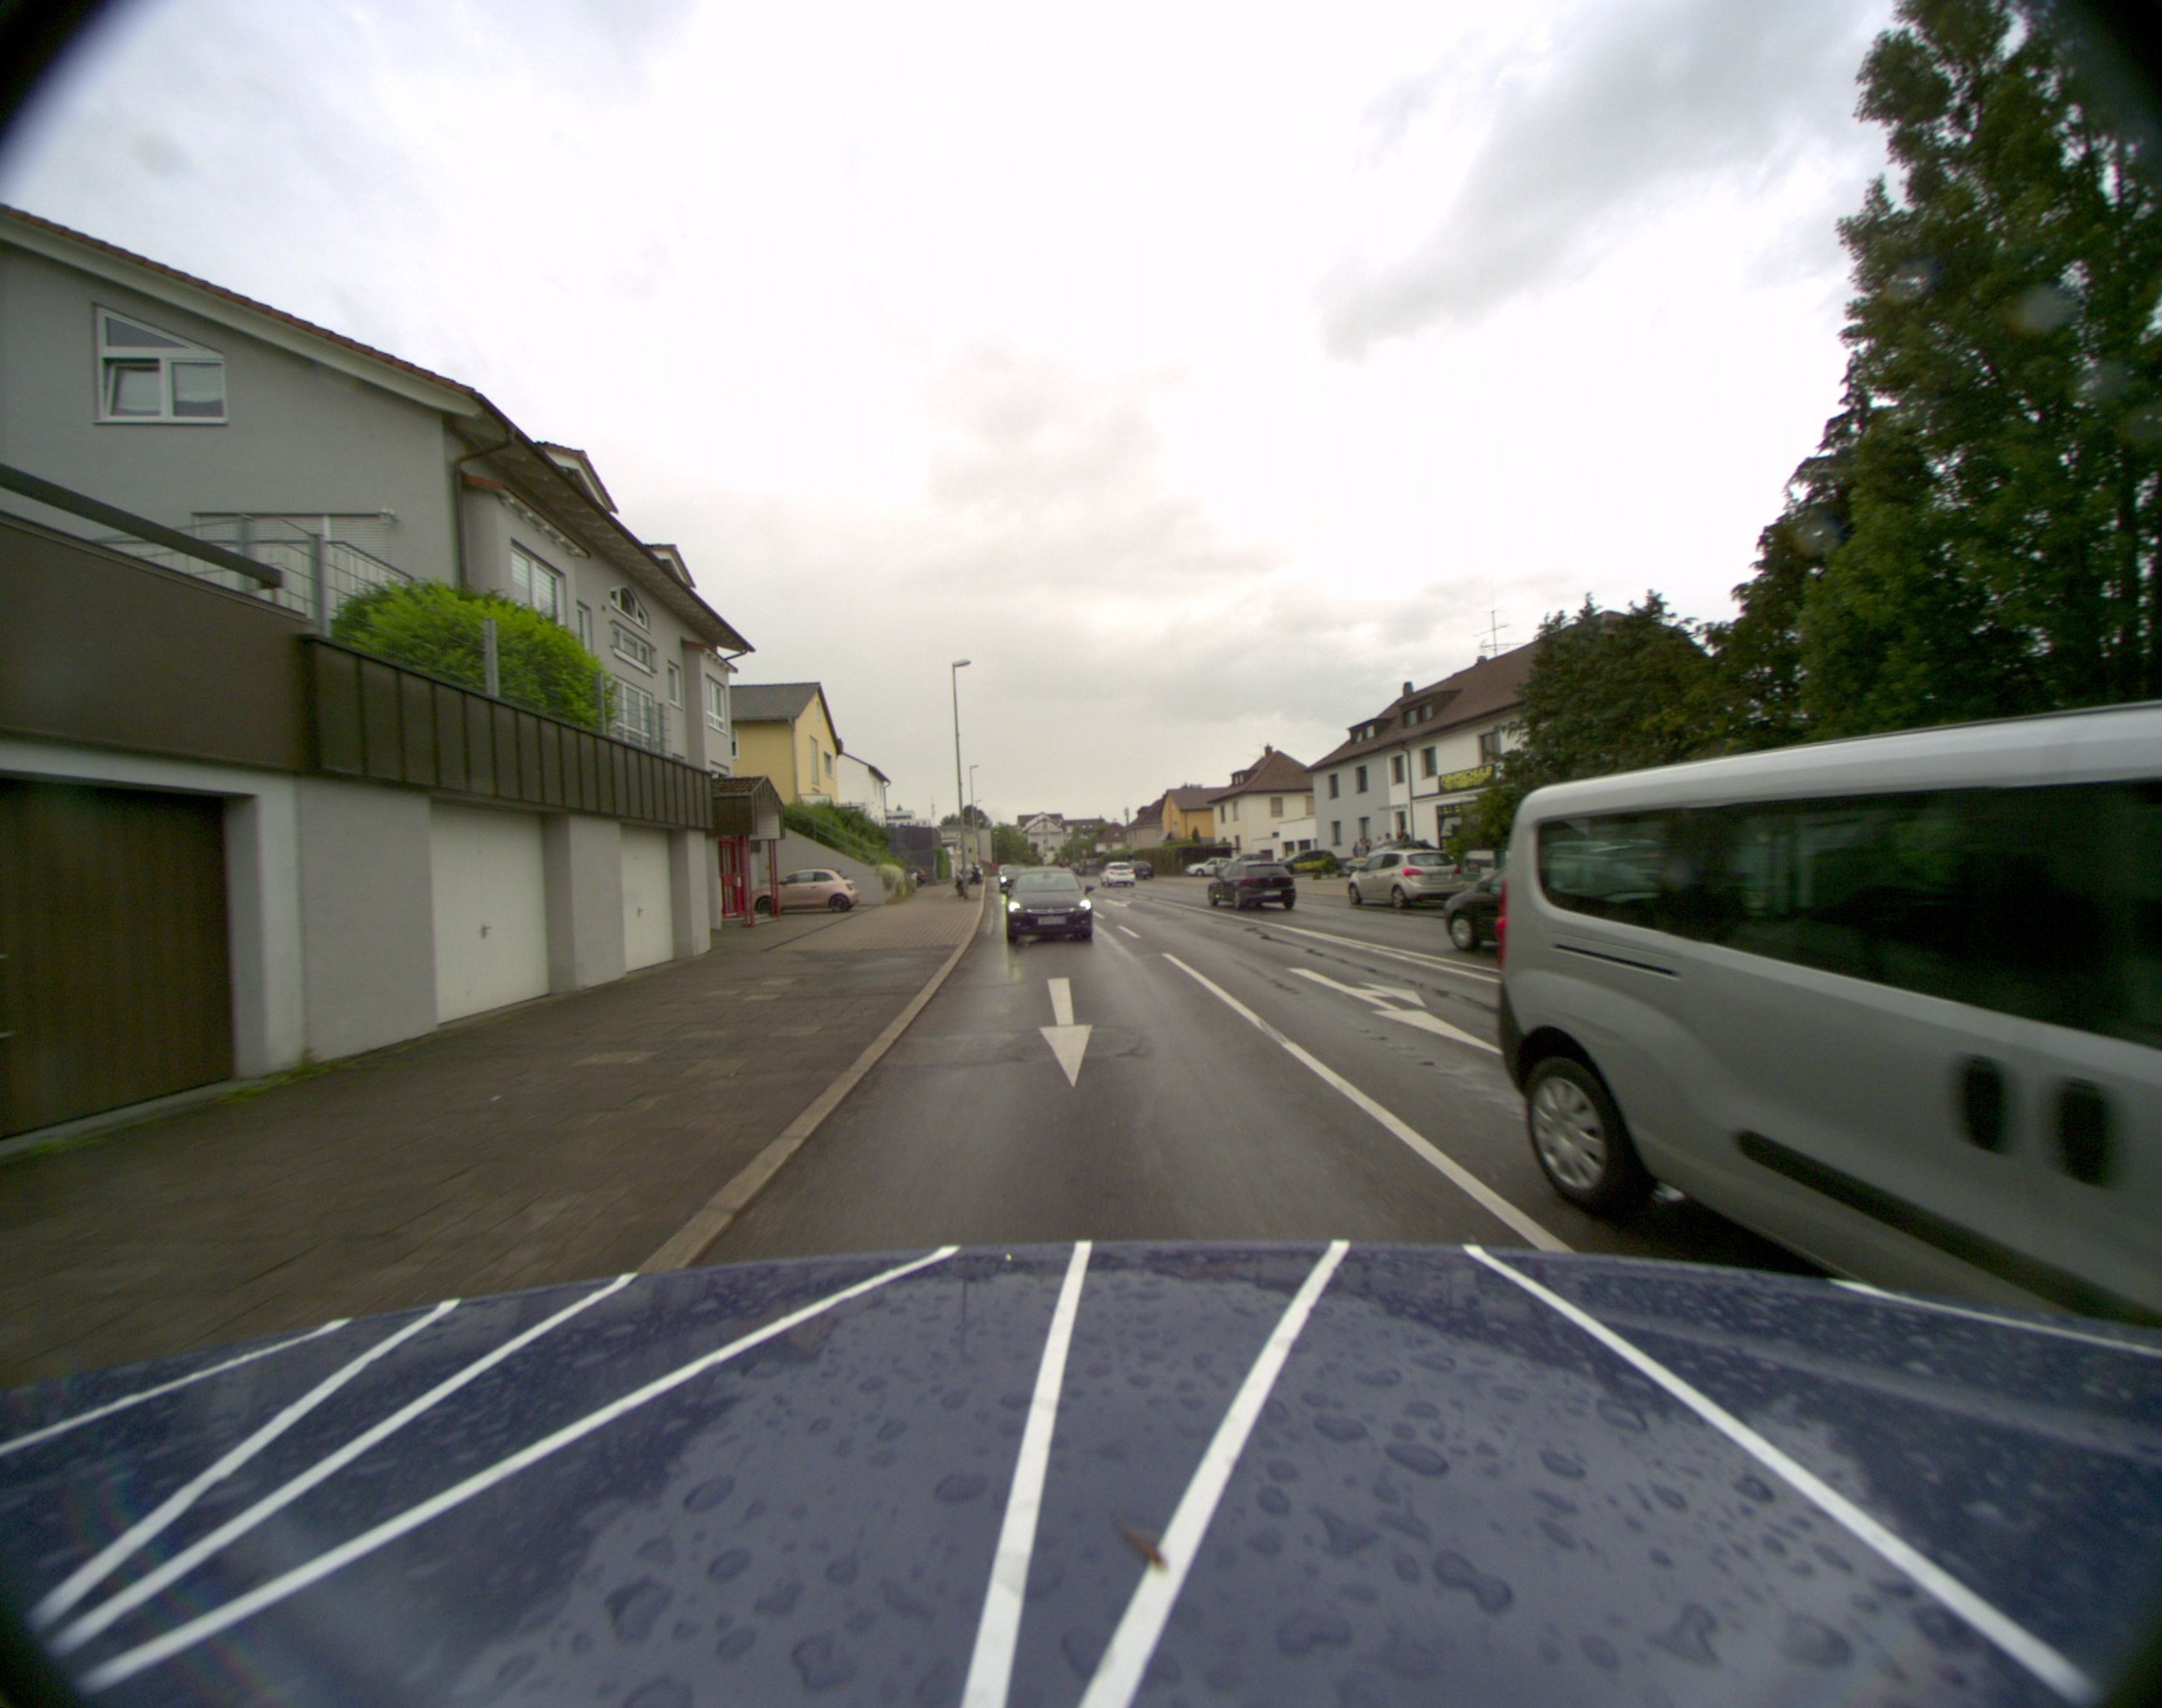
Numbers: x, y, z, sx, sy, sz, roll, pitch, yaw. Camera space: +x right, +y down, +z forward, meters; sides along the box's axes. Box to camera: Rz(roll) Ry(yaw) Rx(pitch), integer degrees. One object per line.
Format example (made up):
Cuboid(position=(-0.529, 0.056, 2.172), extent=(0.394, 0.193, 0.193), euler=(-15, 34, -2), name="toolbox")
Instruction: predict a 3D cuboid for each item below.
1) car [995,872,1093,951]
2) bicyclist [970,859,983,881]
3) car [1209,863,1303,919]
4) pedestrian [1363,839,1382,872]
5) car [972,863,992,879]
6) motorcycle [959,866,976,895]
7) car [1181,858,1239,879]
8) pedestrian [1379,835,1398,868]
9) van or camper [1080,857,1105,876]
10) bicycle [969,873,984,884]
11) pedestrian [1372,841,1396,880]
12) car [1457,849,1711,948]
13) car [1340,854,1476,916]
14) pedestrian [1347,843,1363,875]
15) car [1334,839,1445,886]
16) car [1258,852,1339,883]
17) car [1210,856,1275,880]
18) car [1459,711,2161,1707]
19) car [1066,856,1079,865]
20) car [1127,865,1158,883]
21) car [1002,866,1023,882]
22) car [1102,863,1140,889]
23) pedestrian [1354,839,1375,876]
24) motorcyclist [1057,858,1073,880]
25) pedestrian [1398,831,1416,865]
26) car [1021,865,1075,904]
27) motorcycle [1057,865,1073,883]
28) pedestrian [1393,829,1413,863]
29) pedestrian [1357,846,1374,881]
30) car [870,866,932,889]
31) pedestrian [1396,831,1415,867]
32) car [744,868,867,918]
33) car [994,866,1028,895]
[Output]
Cuboid(position=(-0.808, 1.148, 16.585), extent=(1.841, 1.390, 3.999), euler=(-1, 0, -3), name="car")
Cuboid(position=(-8.019, 1.228, 58.201), extent=(0.809, 1.633, 0.906), euler=(-1, 0, 3), name="bicyclist")
Cuboid(position=(5.268, 1.068, 23.379), extent=(1.716, 1.494, 3.999), euler=(-2, 0, -3), name="car")
Cuboid(position=(15.784, 0.073, 41.153), extent=(0.588, 1.698, 0.561), euler=(-6, 0, -8), name="pedestrian")
Cuboid(position=(-9.299, 1.570, 71.521), extent=(1.738, 1.481, 3.998), euler=(-1, 0, -5), name="car")
Cuboid(position=(-5.451, 1.261, 36.566), extent=(0.694, 1.317, 2.478), euler=(-1, 0, -7), name="motorcycle")
Cuboid(position=(10.120, 1.169, 59.671), extent=(4.114, 1.475, 1.839), euler=(2, -2, -13), name="car")
Cuboid(position=(15.954, -0.121, 39.414), extent=(0.584, 1.660, 0.575), euler=(-6, 0, -8), name="pedestrian")
Cuboid(position=(1.330, 1.432, 88.067), extent=(2.191, 2.002, 5.131), euler=(-2, 0, -7), name="van or camper")
Cuboid(position=(-7.991, 1.872, 58.226), extent=(0.733, 0.821, 2.235), euler=(-1, 0, 4), name="bicycle")
Cuboid(position=(14.961, 0.318, 37.562), extent=(0.734, 1.856, 0.686), euler=(-6, 0, 0), name="pedestrian")
Cuboid(position=(9.907, 0.770, 15.523), extent=(1.810, 1.659, 4.596), euler=(-2, 0, -5), name="car")
Cuboid(position=(9.234, 0.802, 21.876), extent=(1.810, 1.559, 4.141), euler=(-2, 0, -5), name="car")
Cuboid(position=(15.091, 0.274, 41.821), extent=(0.447, 1.743, 0.689), euler=(-6, 0, -5), name="pedestrian")
Cuboid(position=(13.618, 0.387, 33.705), extent=(3.998, 1.555, 1.872), euler=(-7, -1, -5), name="car")
Cuboid(position=(12.504, 0.765, 43.767), extent=(3.999, 1.411, 1.883), euler=(-5, 0, -6), name="car")
Cuboid(position=(11.393, 0.979, 53.738), extent=(4.111, 1.411, 1.883), euler=(-4, 0, -6), name="car")
Cuboid(position=(2.925, 0.651, 1.354), extent=(1.956, 1.860, 4.745), euler=(-1, 0, -2), name="car")
Cuboid(position=(-1.630, 1.261, 143.575), extent=(1.999, 1.565, 3.998), euler=(-2, 0, -5), name="car")
Cuboid(position=(5.030, 1.612, 62.515), extent=(1.810, 1.407, 3.998), euler=(-1, 0, -5), name="car")
Cuboid(position=(-6.763, 1.976, 74.458), extent=(1.842, 1.472, 3.998), euler=(-1, -2, -8), name="car")
Cuboid(position=(2.511, 1.382, 48.606), extent=(1.838, 1.521, 3.998), euler=(-1, 0, -5), name="car")
Cuboid(position=(14.260, 0.166, 38.222), extent=(0.670, 1.778, 0.539), euler=(-6, 0, -2), name="pedestrian")
Cuboid(position=(-1.103, 1.000, 51.624), extent=(0.953, 1.413, 0.993), euler=(-2, 0, -4), name="motorcyclist")
Cuboid(position=(16.158, -0.286, 37.670), extent=(0.517, 1.660, 0.512), euler=(-6, 0, 0), name="pedestrian")
Cuboid(position=(-1.435, 1.237, 30.853), extent=(1.911, 1.389, 4.856), euler=(-2, -2, -5), name="car")
Cuboid(position=(-1.095, 1.353, 51.675), extent=(0.944, 1.101, 2.405), euler=(-2, 0, -4), name="motorcycle")
Cuboid(position=(16.402, -0.384, 38.687), extent=(0.575, 1.660, 0.551), euler=(-6, 0, -8), name="pedestrian")
Cuboid(position=(15.109, 0.500, 40.381), extent=(0.652, 1.776, 0.648), euler=(-5, -1, 18), name="pedestrian")
Cuboid(position=(-12.179, 1.576, 51.542), extent=(4.001, 1.394, 1.672), euler=(-1, 0, -13), name="car")
Cuboid(position=(15.636, -0.249, 36.623), extent=(0.674, 1.660, 0.691), euler=(-5, 0, 24), name="pedestrian")
Cuboid(position=(-9.329, 1.299, 25.992), extent=(3.644, 1.476, 1.811), euler=(-2, 0, -10), name="car")
Cuboid(position=(-4.108, 1.581, 44.524), extent=(1.841, 1.447, 4.001), euler=(-2, -4, -6), name="car")
